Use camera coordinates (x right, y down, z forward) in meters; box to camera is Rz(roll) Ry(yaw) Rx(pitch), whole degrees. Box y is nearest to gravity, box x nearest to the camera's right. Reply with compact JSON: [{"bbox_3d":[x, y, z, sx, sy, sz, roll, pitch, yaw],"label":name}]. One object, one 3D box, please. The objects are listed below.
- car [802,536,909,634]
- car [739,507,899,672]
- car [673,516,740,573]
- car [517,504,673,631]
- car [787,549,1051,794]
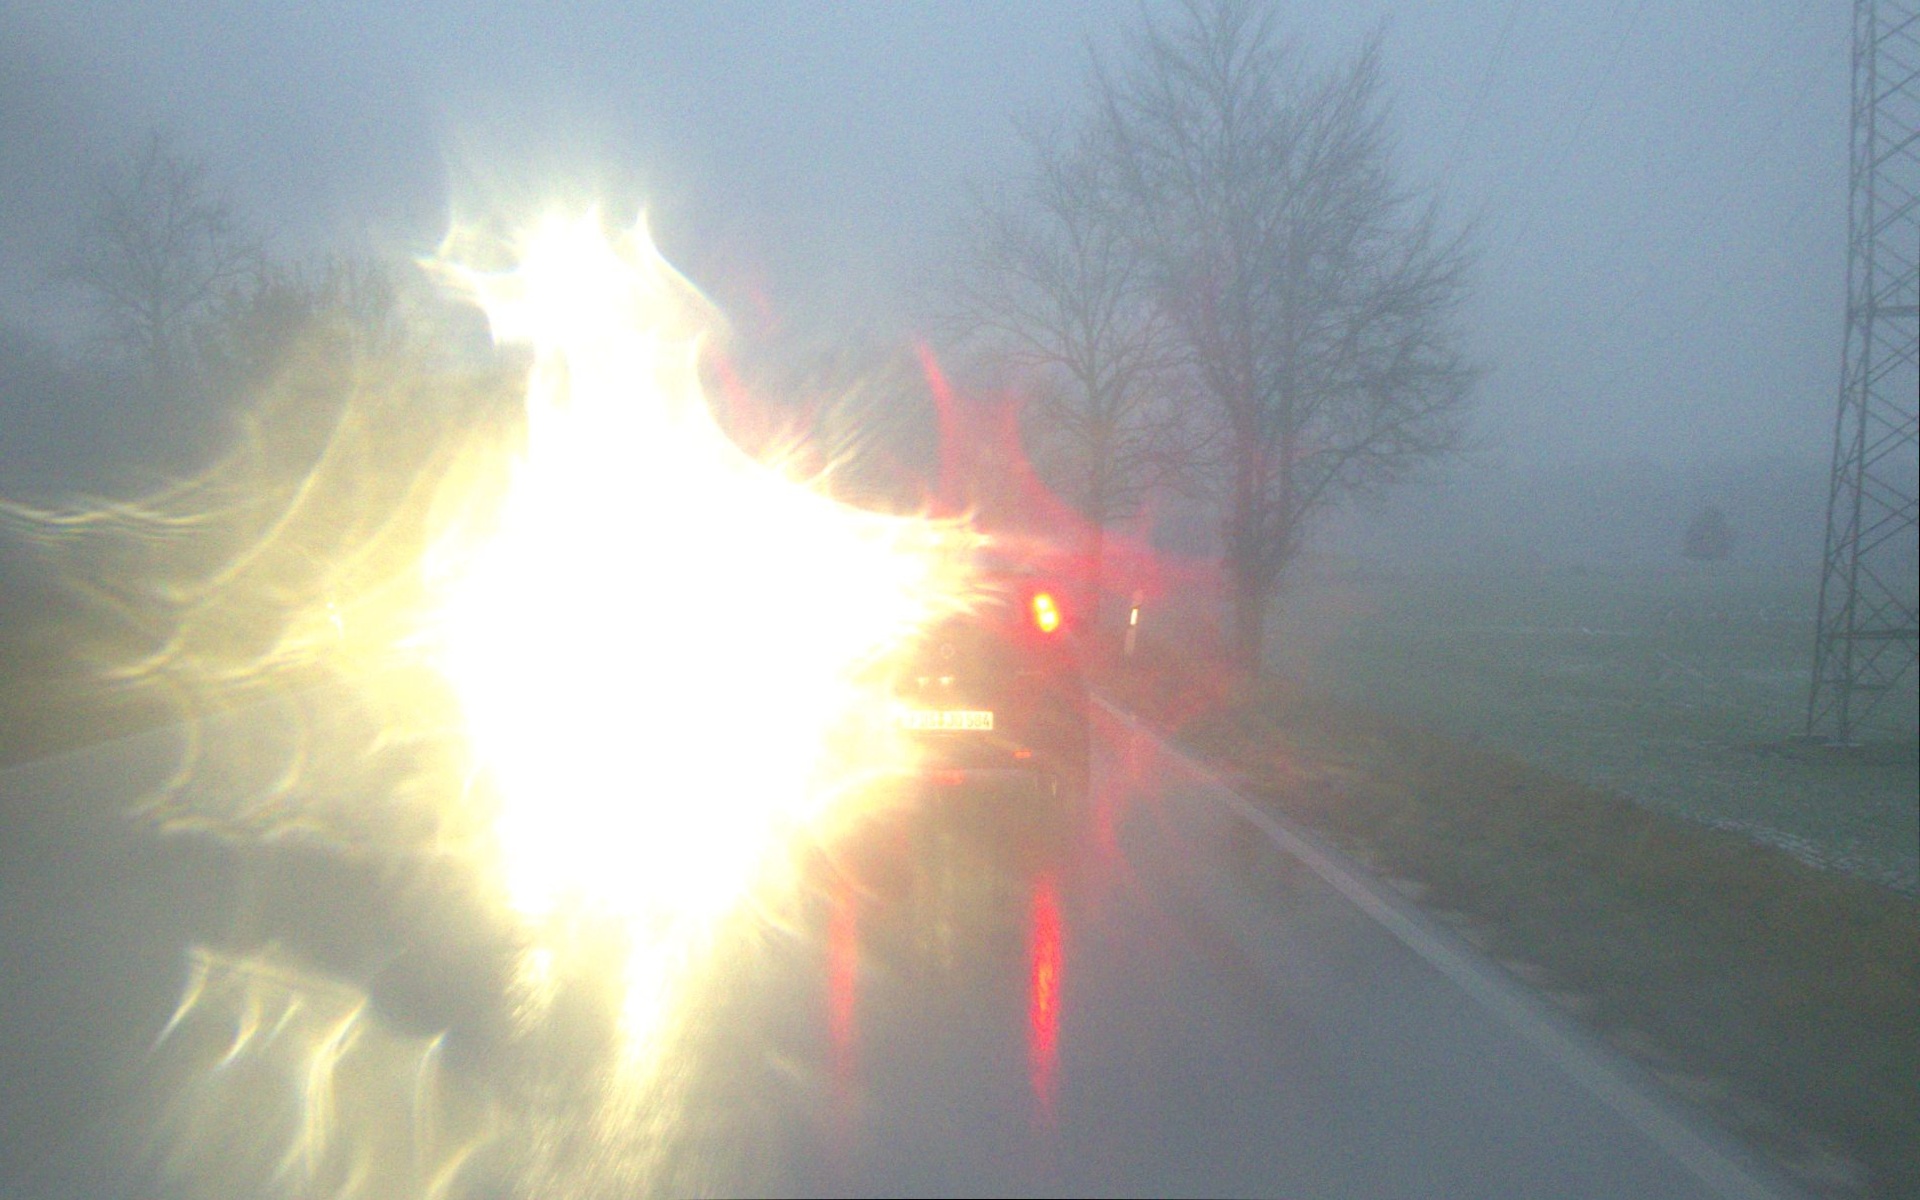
[{"bbox_3d":[-1.903,-0.304,62.374,1.863,1.694,4.468,0,1,-2],"label":"car"},{"bbox_3d":[-1.758,-0.157,44.031,1.852,2.007,4.000,1,1,0],"label":"car"},{"bbox_3d":[-7.783,-1.731,105.940,1.863,1.694,4.468,0,1,-2],"label":"car"},{"bbox_3d":[-5.185,-0.495,49.326,1.785,1.745,4.258,0,1,0],"label":"car"},{"bbox_3d":[-0.232,0.386,21.353,1.500,1.393,3.200,1,1,0],"label":"car"}]
